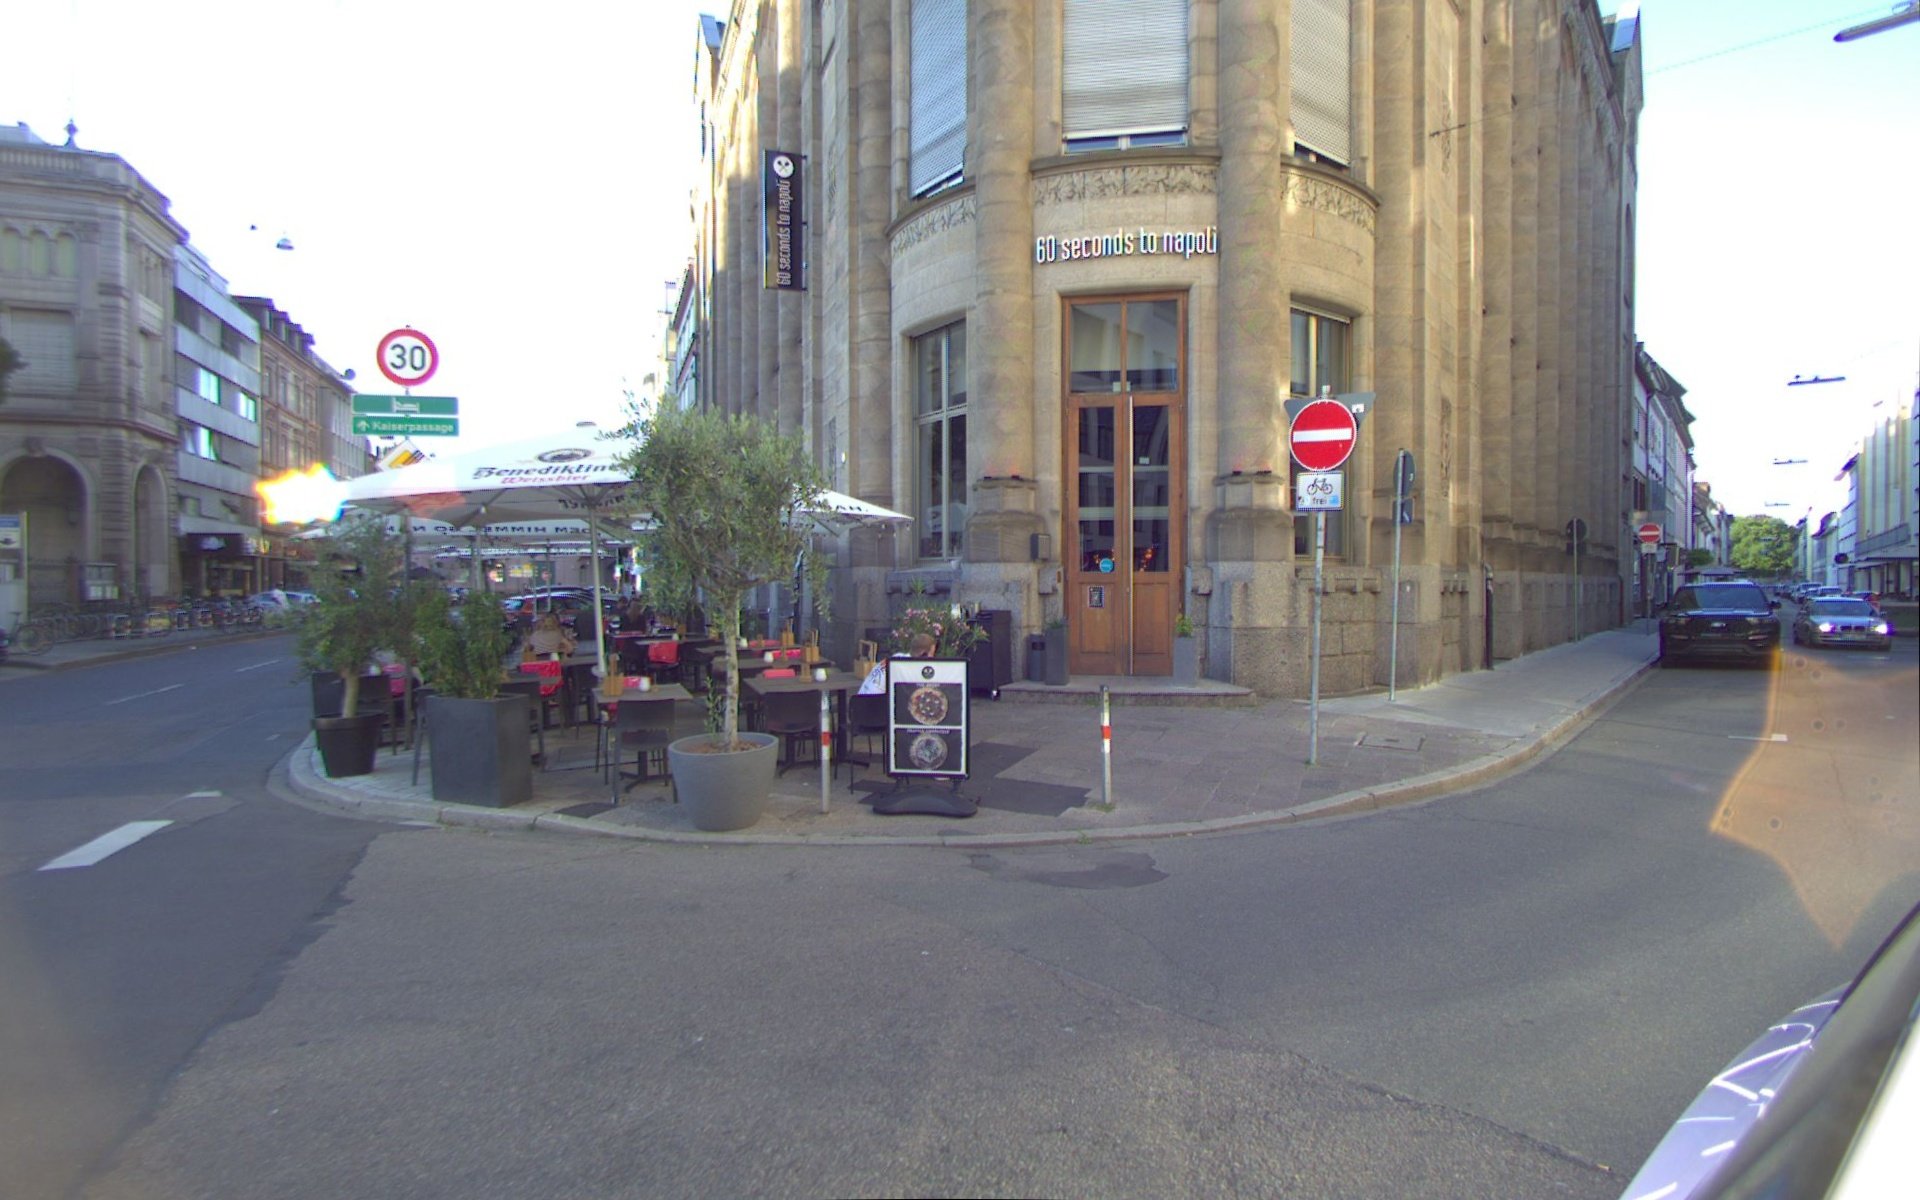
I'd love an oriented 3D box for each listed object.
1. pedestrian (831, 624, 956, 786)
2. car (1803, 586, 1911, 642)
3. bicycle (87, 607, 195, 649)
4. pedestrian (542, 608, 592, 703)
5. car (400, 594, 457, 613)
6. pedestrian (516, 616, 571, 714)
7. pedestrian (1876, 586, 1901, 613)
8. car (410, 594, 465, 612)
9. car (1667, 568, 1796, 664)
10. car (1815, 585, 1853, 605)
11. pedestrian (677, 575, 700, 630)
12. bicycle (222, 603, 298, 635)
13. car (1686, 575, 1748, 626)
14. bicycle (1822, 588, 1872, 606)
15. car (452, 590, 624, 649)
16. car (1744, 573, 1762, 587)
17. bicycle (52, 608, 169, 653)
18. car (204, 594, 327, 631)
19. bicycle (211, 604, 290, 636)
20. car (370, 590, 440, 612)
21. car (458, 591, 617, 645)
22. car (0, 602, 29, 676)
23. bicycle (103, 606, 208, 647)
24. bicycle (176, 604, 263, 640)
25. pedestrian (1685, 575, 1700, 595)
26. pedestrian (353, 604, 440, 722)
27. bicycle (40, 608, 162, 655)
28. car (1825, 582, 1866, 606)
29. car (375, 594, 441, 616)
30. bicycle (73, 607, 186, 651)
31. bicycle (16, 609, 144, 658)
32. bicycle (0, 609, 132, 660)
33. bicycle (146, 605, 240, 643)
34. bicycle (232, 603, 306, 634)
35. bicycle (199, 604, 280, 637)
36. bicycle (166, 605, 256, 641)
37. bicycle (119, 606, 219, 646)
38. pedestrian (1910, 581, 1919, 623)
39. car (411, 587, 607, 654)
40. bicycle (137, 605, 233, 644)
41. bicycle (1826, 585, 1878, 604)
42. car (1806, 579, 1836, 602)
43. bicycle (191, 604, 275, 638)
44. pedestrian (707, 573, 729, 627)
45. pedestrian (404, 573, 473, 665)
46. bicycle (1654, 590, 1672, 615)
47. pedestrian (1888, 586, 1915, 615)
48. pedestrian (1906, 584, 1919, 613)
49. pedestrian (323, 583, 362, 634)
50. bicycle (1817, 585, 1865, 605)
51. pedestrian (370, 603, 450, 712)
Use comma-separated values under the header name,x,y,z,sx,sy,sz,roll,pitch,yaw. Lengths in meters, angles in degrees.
name,x,y,z,sx,sy,sz,roll,pitch,yaw
pedestrian,-0.535,0.808,8.195,0.807,1.204,0.607,0,0,-41
car,24.908,0.333,28.244,1.990,1.440,4.397,0,0,38
bicycle,-23.128,0.775,28.635,2.254,1.104,0.718,-1,0,-23
pedestrian,-5.389,0.743,13.896,0.588,1.261,0.687,0,0,-16
car,-43.327,0.291,82.566,3.916,1.430,1.759,-1,1,-19
pedestrian,-5.308,0.813,12.922,0.588,1.204,0.574,0,0,-16
pedestrian,37.593,-0.027,40.983,0.629,1.081,0.554,-1,0,31
car,-44.141,0.265,85.526,3.916,1.430,1.759,-1,1,-19
car,16.459,0.274,21.657,1.989,1.805,4.868,0,0,37
car,67.394,-0.401,78.075,1.990,1.489,4.397,0,0,38
pedestrian,-8.878,0.071,33.067,0.616,1.752,0.598,-1,1,-26
bicycle,-26.425,0.705,38.263,2.254,1.104,0.718,-1,0,-23
car,28.604,0.007,38.199,1.667,1.829,4.179,-1,0,39
bicycle,60.147,-0.212,68.646,0.771,1.193,2.476,-1,1,-45
car,-11.520,0.491,27.855,1.745,1.430,4.053,-1,1,37
car,109.994,-2.757,140.338,1.990,1.919,4.397,0,0,38
bicycle,-22.448,0.787,26.802,2.254,1.104,0.718,-1,0,-23
car,-29.164,0.509,42.598,3.916,1.430,1.759,-1,1,-19
bicycle,-26.170,0.713,37.363,2.254,1.104,0.718,-1,0,-23
car,-38.494,0.083,70.243,3.923,1.430,1.756,-1,1,-1
car,-12.448,0.483,30.009,1.745,1.430,4.015,-1,1,37
car,-20.580,0.798,20.063,3.957,1.430,1.741,-1,1,25
bicycle,-23.425,0.768,29.515,2.254,1.104,0.718,-1,0,-23
bicycle,-25.017,0.733,34.238,2.254,1.104,0.718,-1,0,-23
pedestrian,46.526,-0.972,64.263,0.734,1.258,0.637,-1,0,41
pedestrian,-6.287,0.680,11.300,0.680,1.261,0.594,0,0,30
bicycle,-22.031,0.790,26.016,2.254,1.104,0.718,-1,0,-23
car,64.278,-0.436,73.494,1.990,1.697,4.397,0,0,38
car,-39.793,0.354,73.035,3.916,1.430,1.759,-1,1,-19
bicycle,-22.741,0.779,27.767,2.254,1.104,0.718,-1,0,-23
bicycle,-21.647,0.797,24.950,2.254,1.104,0.718,-1,0,-23
bicycle,-21.319,0.801,24.178,2.254,1.104,0.718,-1,0,-23
bicycle,-24.405,0.749,32.258,2.254,1.104,0.718,-1,0,-23
bicycle,-26.747,0.698,39.239,2.254,1.104,0.718,-1,0,-23
bicycle,-25.785,0.720,36.248,2.254,1.104,0.718,-1,0,-23
bicycle,-24.696,0.739,33.404,2.254,1.104,0.718,-1,0,-23
bicycle,-23.725,0.762,30.398,2.254,1.104,0.718,-1,0,-23
pedestrian,34.215,0.062,35.908,0.607,1.491,0.541,-1,0,31
car,-10.882,0.441,24.641,1.745,1.430,4.015,-1,1,37
bicycle,-24.068,0.753,31.468,2.254,1.104,0.718,-1,0,-23
bicycle,57.727,-0.337,65.524,0.771,1.193,2.476,-1,1,-45
car,80.915,-0.902,95.183,1.990,2.067,4.397,0,0,38
bicycle,-25.439,0.725,35.446,2.254,1.104,0.718,-1,0,-23
pedestrian,-8.045,-0.007,33.648,0.585,1.752,0.630,-1,1,-24
pedestrian,-7.339,0.256,14.240,0.680,1.261,0.594,0,0,30
bicycle,33.030,0.119,47.528,0.518,1.103,1.728,5,3,38
pedestrian,35.508,0.031,38.168,0.607,1.076,0.541,-1,0,31
pedestrian,36.400,-0.057,38.423,0.598,1.076,0.541,-1,0,31
pedestrian,-21.869,0.303,35.883,0.953,1.772,1.004,-1,0,-17
bicycle,61.760,-0.366,70.982,0.771,1.347,2.476,-1,1,-45
pedestrian,-6.661,0.674,12.254,0.680,1.261,0.594,0,0,30
